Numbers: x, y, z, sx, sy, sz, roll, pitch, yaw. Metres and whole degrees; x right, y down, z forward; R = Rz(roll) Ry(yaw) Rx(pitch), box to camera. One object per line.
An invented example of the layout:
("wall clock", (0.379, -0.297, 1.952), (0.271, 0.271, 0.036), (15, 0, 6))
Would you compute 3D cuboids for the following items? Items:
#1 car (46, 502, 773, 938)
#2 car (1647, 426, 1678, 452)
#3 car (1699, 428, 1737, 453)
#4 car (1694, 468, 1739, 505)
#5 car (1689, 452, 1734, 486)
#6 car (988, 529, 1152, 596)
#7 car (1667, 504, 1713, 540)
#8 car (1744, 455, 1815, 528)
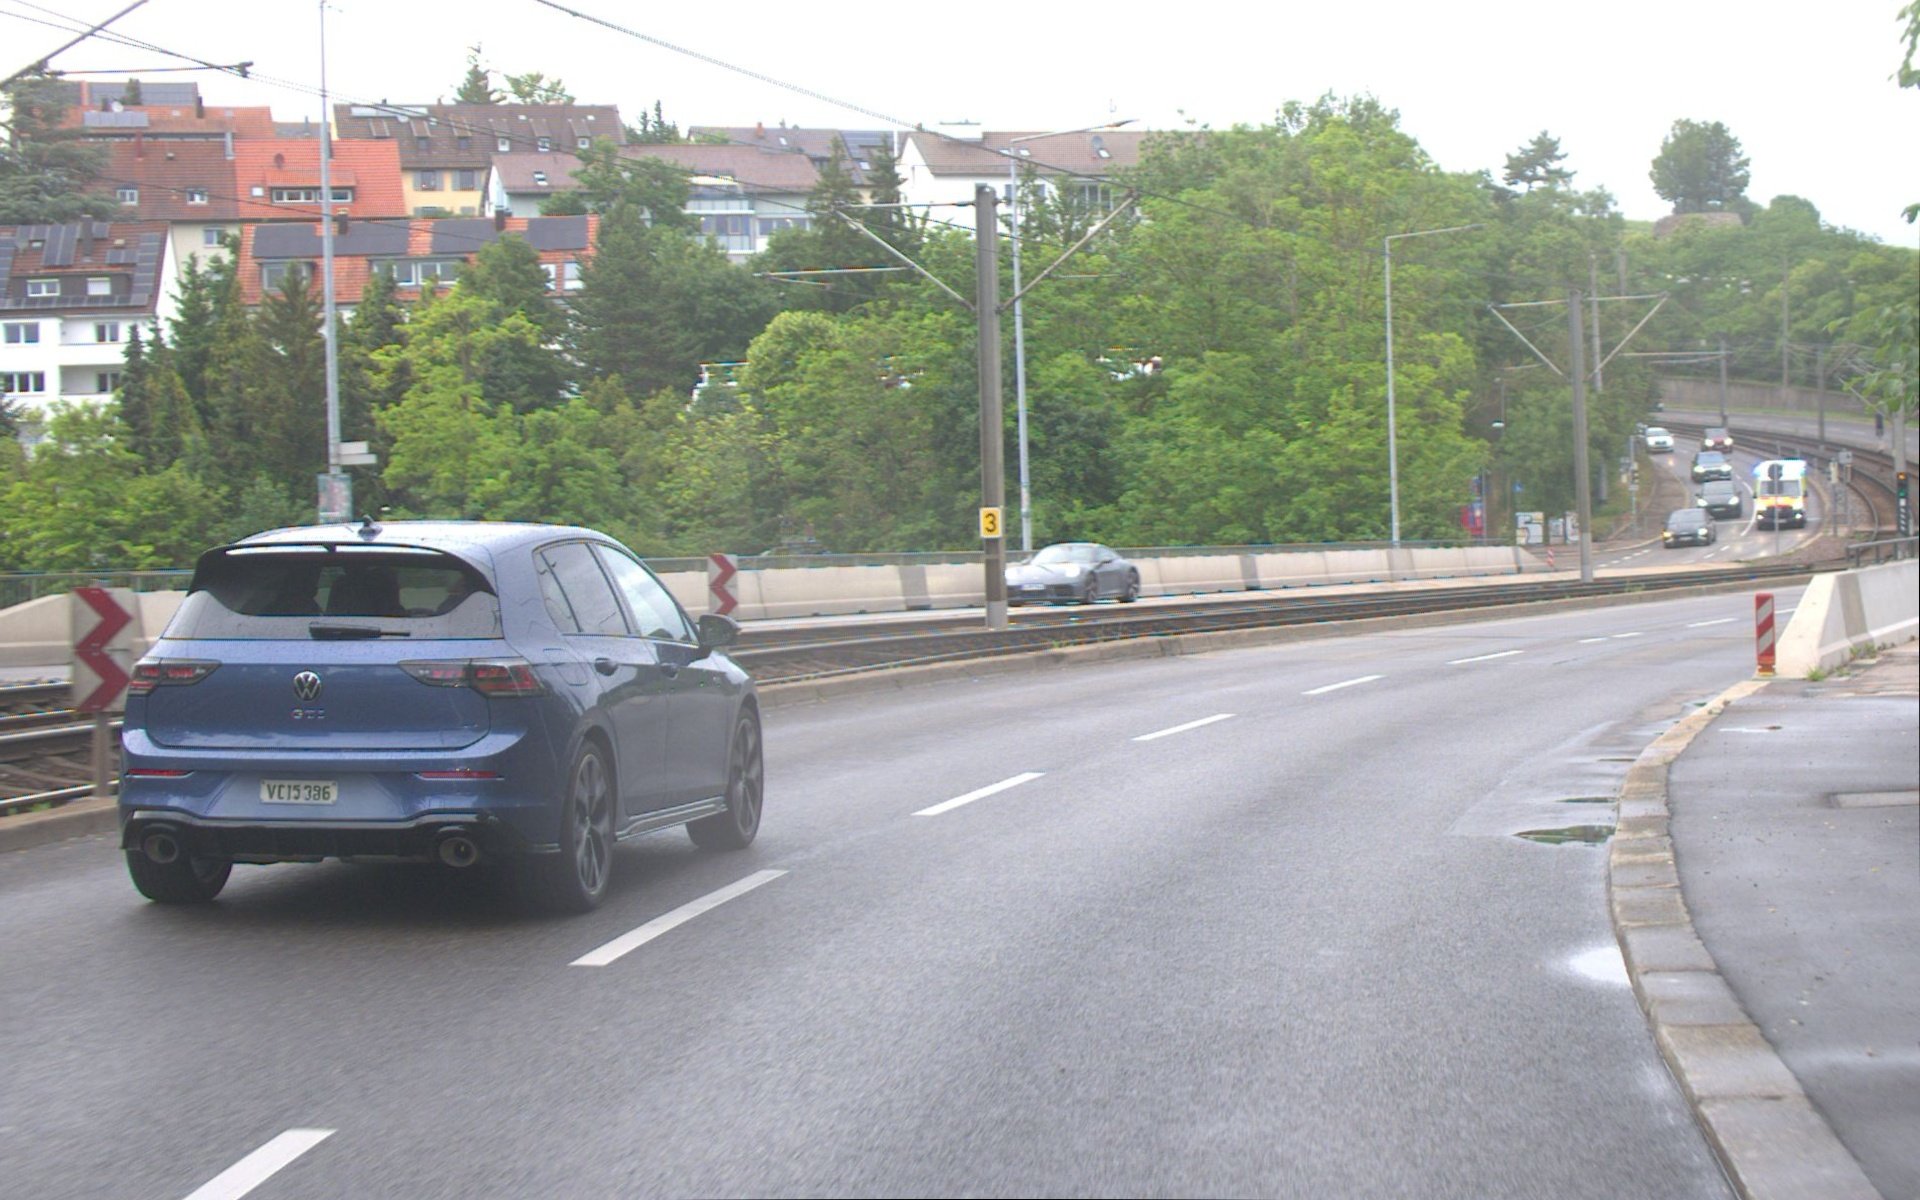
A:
("car", (-2.029, 0.368, 13.901), (1.764, 1.496, 3.999), (0, 1, 9))
("car", (44.907, -10.279, 219.704), (1.822, 1.510, 4.527), (-1, 1, 12))
("car", (47.095, -9.909, 213.670), (1.600, 1.488, 3.018), (-3, 2, 0))
("car", (34.973, -5.246, 158.975), (1.897, 1.592, 4.730), (-2, 1, 11))
("car", (40.992, -7.147, 187.525), (1.969, 1.592, 5.183), (-2, 0, 8))
("car", (2.351, -0.810, 72.320), (1.839, 1.310, 4.613), (-2, 0, 24))
("car", (29.982, -3.214, 141.115), (1.817, 1.431, 4.738), (-1, 2, 12))
("car", (35.674, -4.695, 149.764), (2.390, 3.105, 6.355), (0, 1, 8))
